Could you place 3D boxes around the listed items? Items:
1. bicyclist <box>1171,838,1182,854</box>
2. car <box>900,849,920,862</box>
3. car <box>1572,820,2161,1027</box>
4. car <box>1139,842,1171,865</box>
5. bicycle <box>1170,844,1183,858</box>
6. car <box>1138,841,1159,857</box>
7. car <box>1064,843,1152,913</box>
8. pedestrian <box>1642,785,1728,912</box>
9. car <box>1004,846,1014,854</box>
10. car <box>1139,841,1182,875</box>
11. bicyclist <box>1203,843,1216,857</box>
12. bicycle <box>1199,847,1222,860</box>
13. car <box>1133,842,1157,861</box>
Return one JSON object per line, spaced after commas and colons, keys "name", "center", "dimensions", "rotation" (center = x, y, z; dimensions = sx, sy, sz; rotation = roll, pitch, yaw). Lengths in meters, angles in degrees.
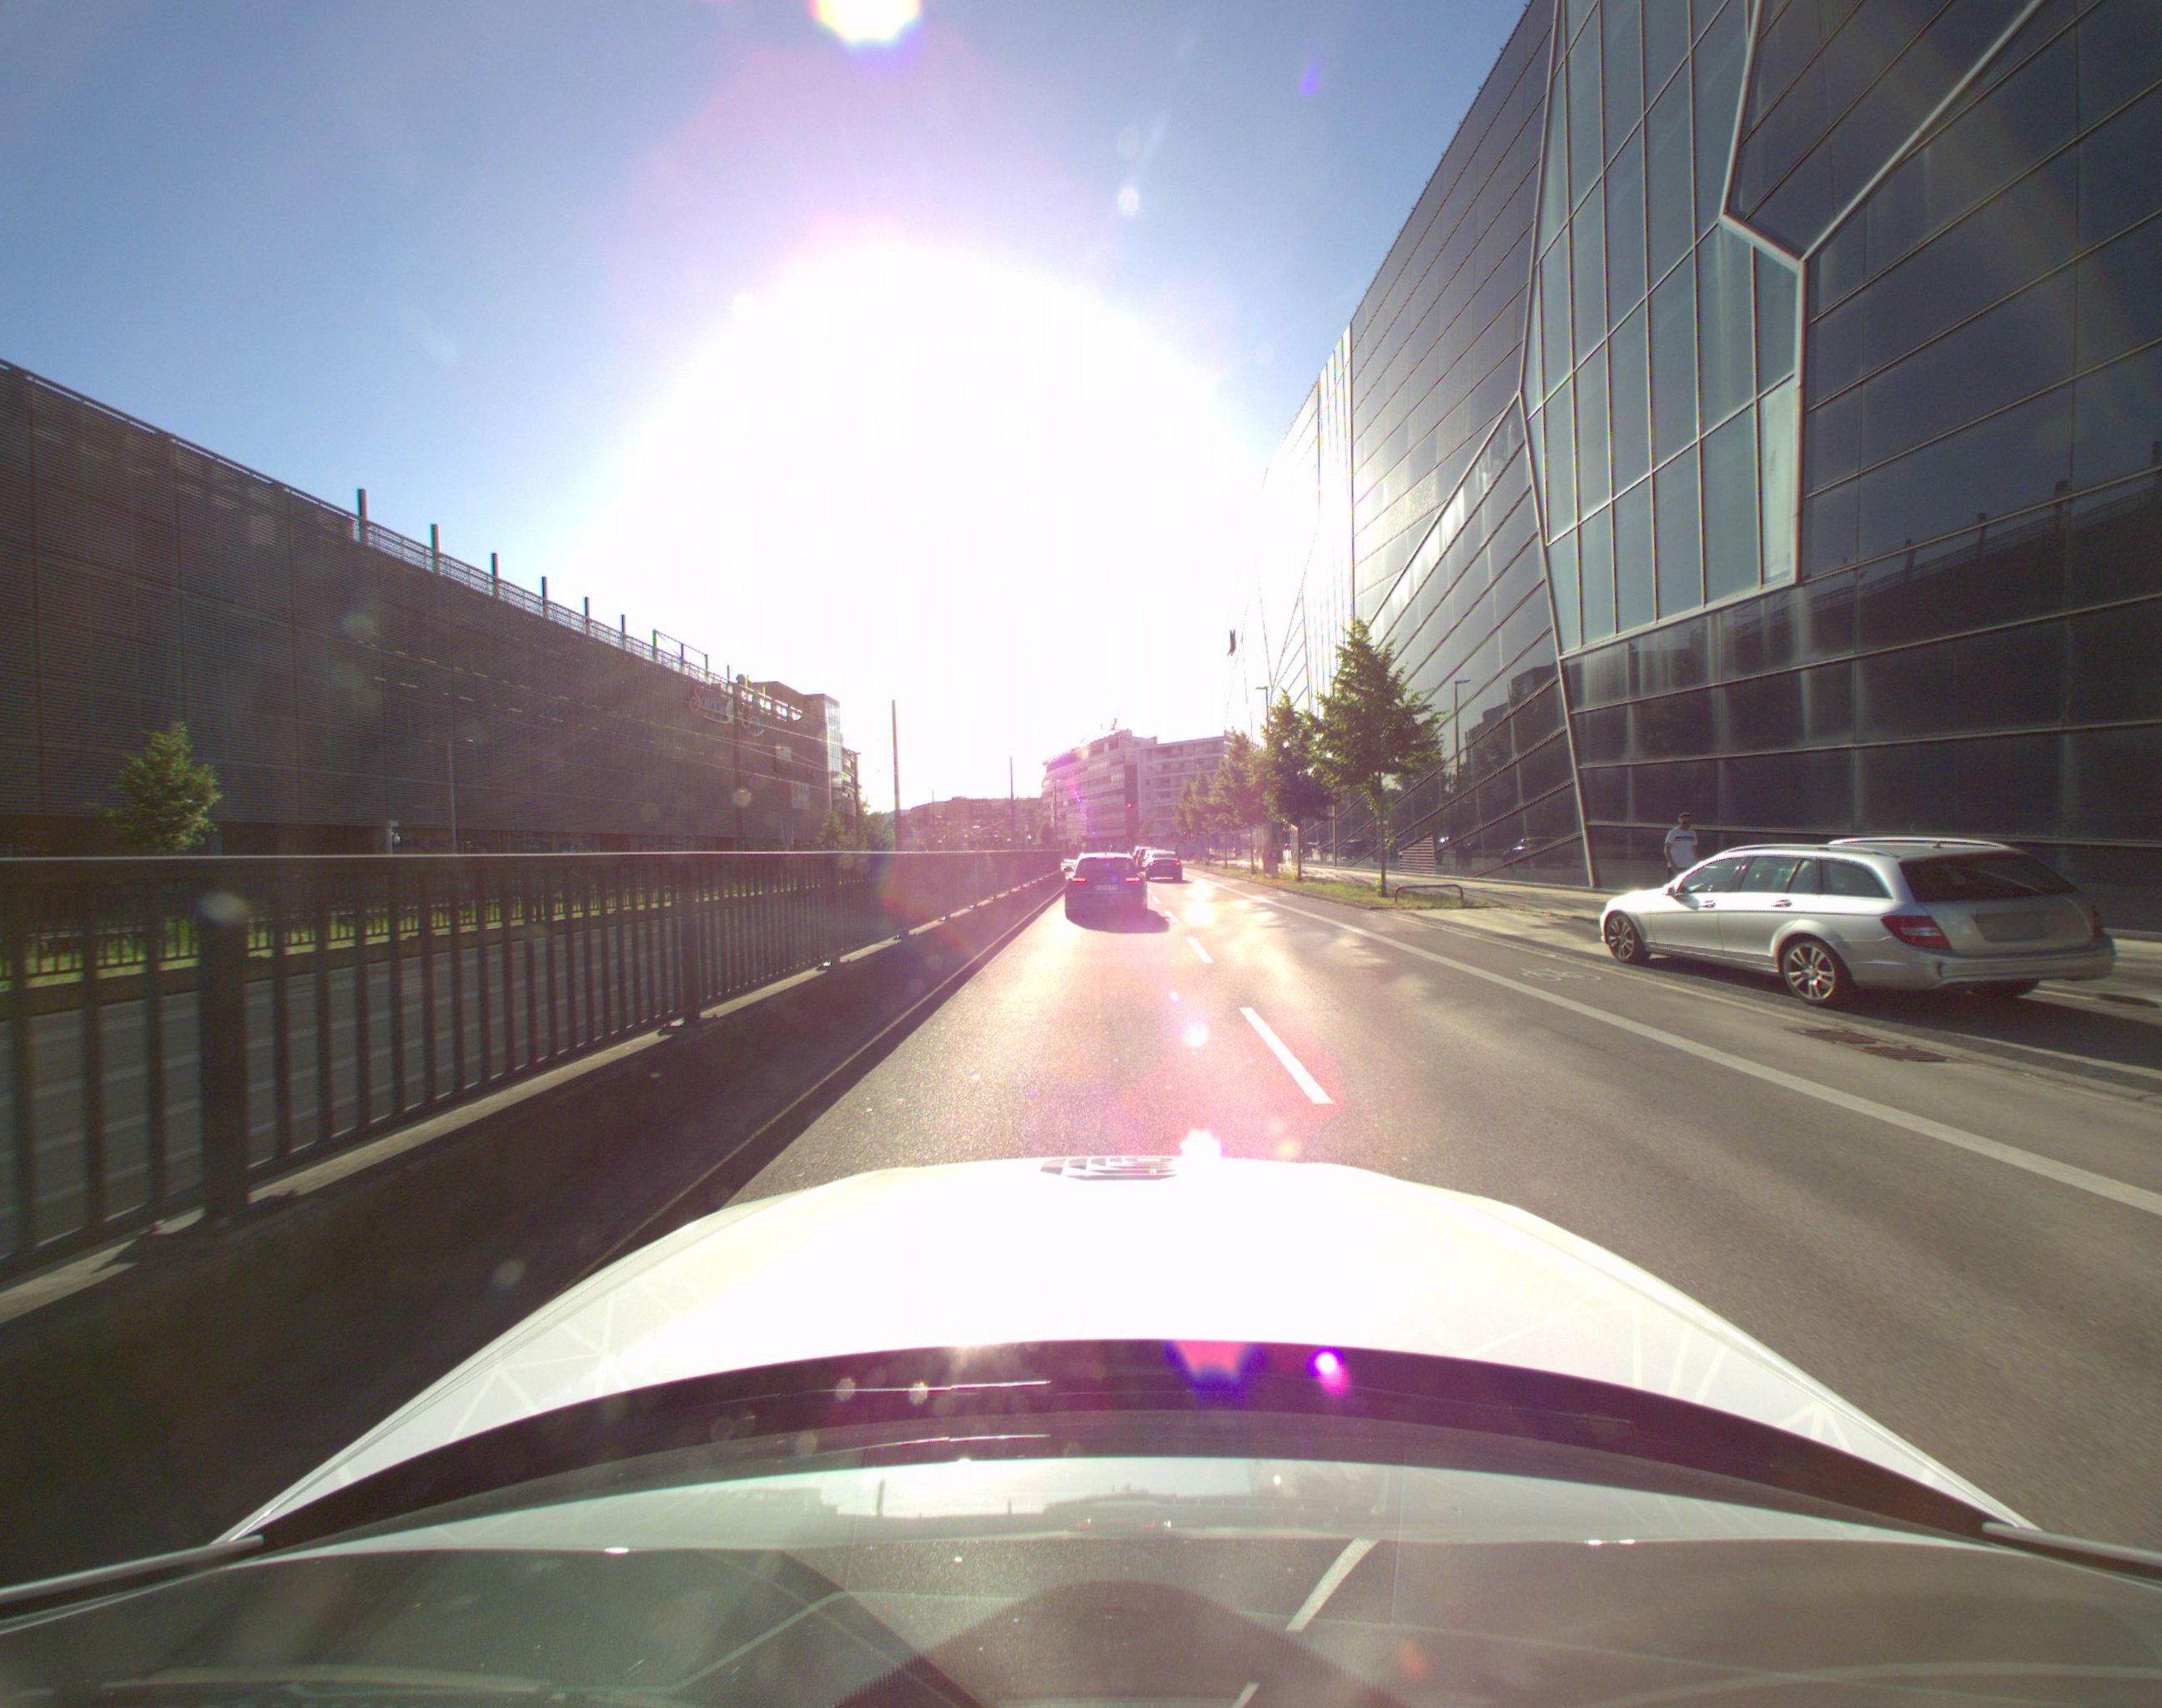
{"name": "bicyclist", "center": [8.811, -0.724, 75.096], "dimensions": [0.723, 1.418, 0.890], "rotation": [-3, 0, -5]}
{"name": "car", "center": [-25.458, 0.184, 121.224], "dimensions": [1.986, 1.716, 4.002], "rotation": [-3, 1, 2]}
{"name": "car", "center": [7.574, 0.490, 8.661], "dimensions": [1.846, 1.481, 4.856], "rotation": [-3, 1, 2]}
{"name": "car", "center": [4.978, -0.059, 55.216], "dimensions": [1.985, 1.465, 4.004], "rotation": [-1, 2, 3]}
{"name": "bicycle", "center": [8.820, -0.294, 75.078], "dimensions": [0.723, 1.184, 2.090], "rotation": [-3, 1, -4]}
{"name": "car", "center": [6.684, -0.489, 81.318], "dimensions": [1.985, 1.465, 4.005], "rotation": [-1, 2, 4]}
{"name": "car", "center": [0.641, 0.492, 19.645], "dimensions": [1.805, 1.427, 4.691], "rotation": [-2, 0, 2]}
{"name": "pedestrian", "center": [9.973, -0.092, 13.467], "dimensions": [0.833, 2.013, 0.690], "rotation": [-3, 0, 3]}
{"name": "car", "center": [-17.447, -1.028, 198.465], "dimensions": [1.987, 1.749, 3.999], "rotation": [-3, 1, 0]}
{"name": "car", "center": [3.799, 0.162, 39.415], "dimensions": [1.845, 1.546, 4.003], "rotation": [0, 1, 3]}
{"name": "bicyclist", "center": [12.611, -0.407, 79.971], "dimensions": [1.033, 1.268, 0.724], "rotation": [-3, 0, -11]}
{"name": "bicycle", "center": [12.698, -0.074, 79.979], "dimensions": [2.087, 1.184, 0.724], "rotation": [-3, 0, -11]}
{"name": "car", "center": [5.460, -0.231, 70.149], "dimensions": [1.985, 1.465, 4.005], "rotation": [-1, 2, 4]}
